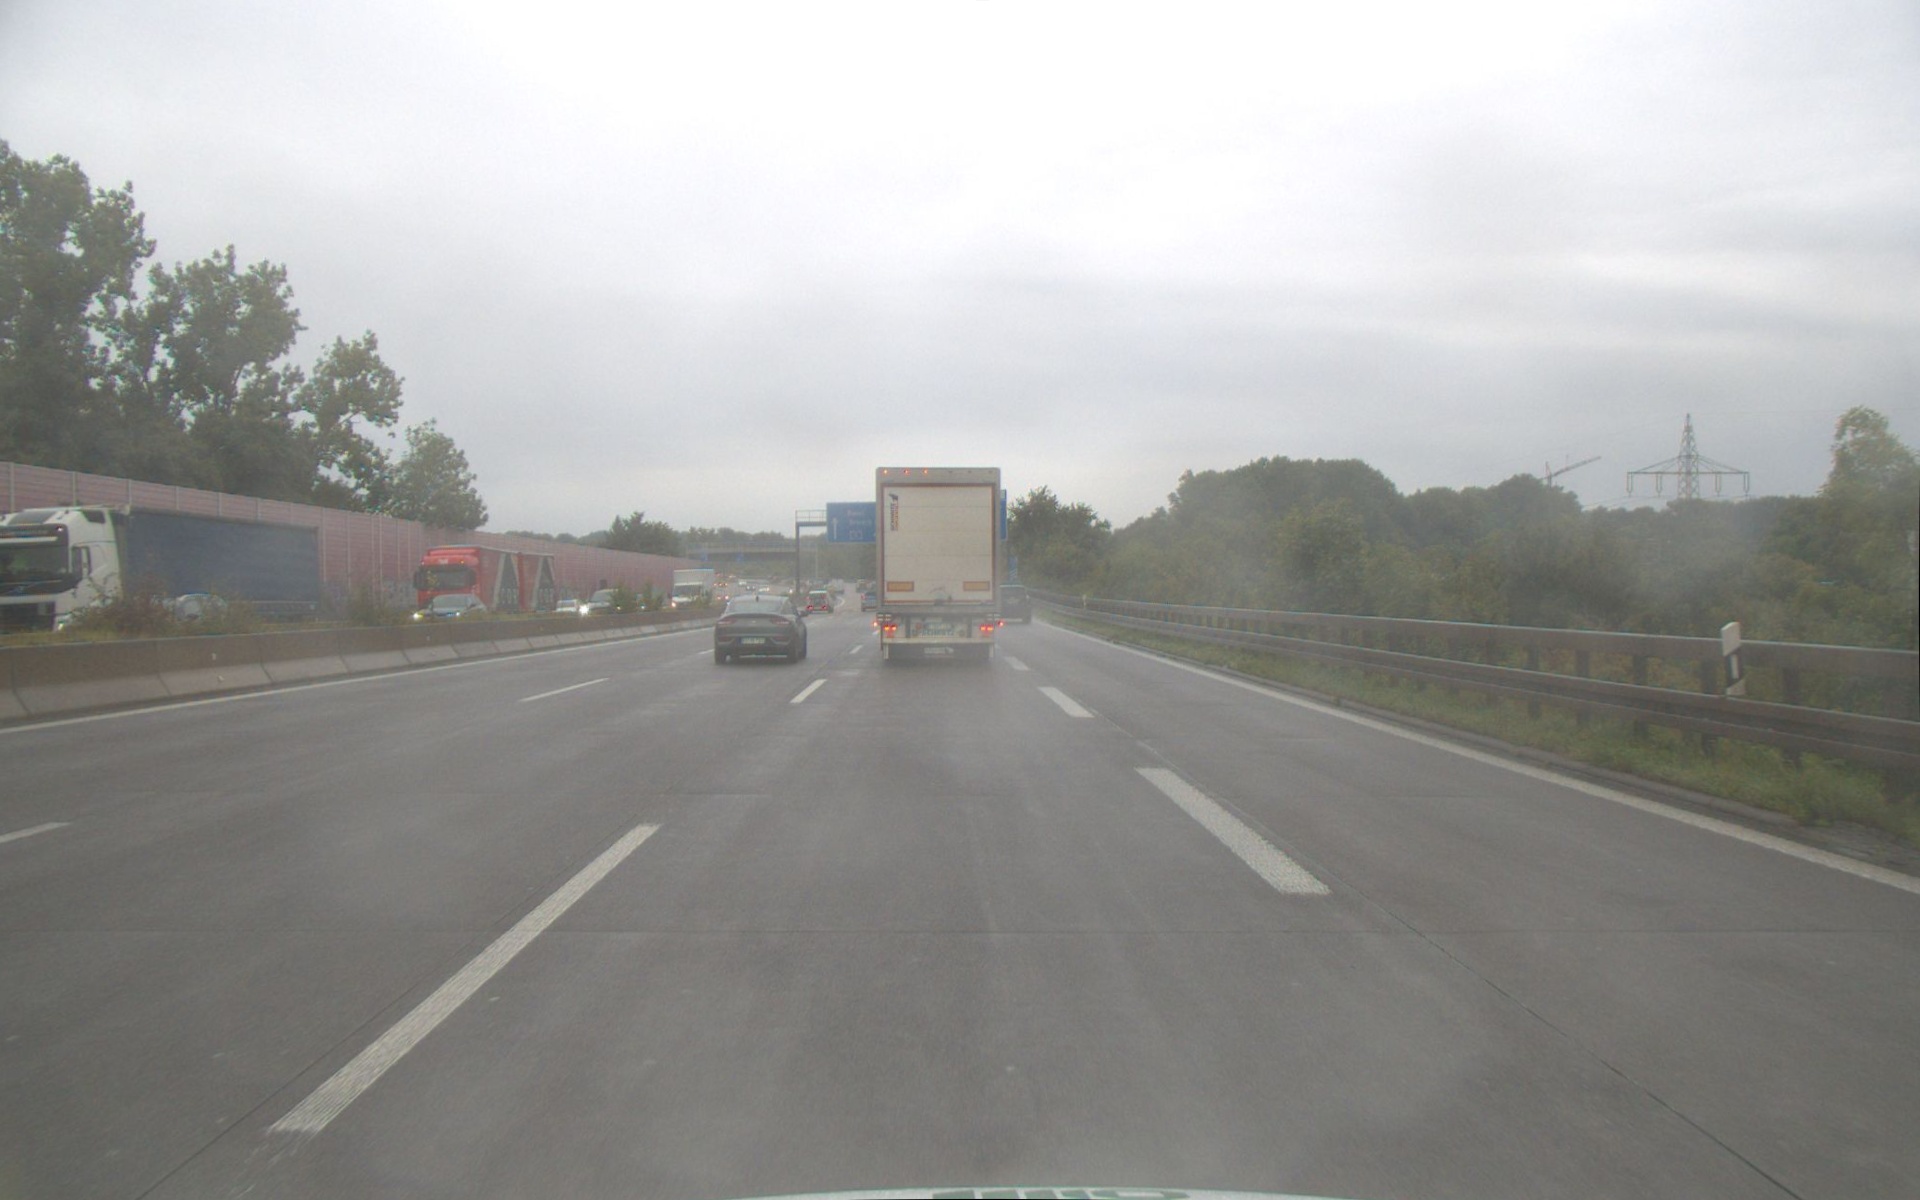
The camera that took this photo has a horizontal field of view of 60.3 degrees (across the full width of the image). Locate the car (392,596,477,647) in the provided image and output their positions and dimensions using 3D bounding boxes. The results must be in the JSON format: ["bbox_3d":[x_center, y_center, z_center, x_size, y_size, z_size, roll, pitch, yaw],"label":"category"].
[{"bbox_3d":[-20.243,0.789,63.875,1.953,1.892,4.388,0,0,-2],"label":"car"}]

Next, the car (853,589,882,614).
[{"bbox_3d":[-6.617,0.070,118.440,1.855,1.754,3.999,-1,0,-1],"label":"car"}]

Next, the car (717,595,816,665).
[{"bbox_3d":[-4.200,0.608,36.501,1.690,1.427,4.827,1,0,-1],"label":"car"}]

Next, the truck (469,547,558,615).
[{"bbox_3d":[-24.330,-1.001,90.560,2.724,3.551,8.491,0,0,-2],"label":"truck"}]

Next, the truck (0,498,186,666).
[{"bbox_3d":[-23.467,-0.471,43.887,2.984,4.098,6.050,1,0,-1],"label":"truck"}]

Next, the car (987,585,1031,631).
[{"bbox_3d":[2.188,0.342,74.633,1.858,1.983,4.000,1,0,0],"label":"car"}]

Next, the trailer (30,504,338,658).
[{"bbox_3d":[-23.525,-0.537,51.525,2.984,4.098,14.124,1,0,-1],"label":"trailer"}]

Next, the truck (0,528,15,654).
[{"bbox_3d":[-27.368,-0.252,41.105,2.912,3.409,8.697,1,0,-2],"label":"truck"}]

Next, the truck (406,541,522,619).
[{"bbox_3d":[-24.105,-0.958,81.018,2.724,3.551,10.615,0,0,-2],"label":"truck"}]

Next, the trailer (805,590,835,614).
[{"bbox_3d":[-9.902,0.135,117.149,1.778,1.653,4.567,0,1,-1],"label":"trailer"}]

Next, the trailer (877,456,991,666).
[{"bbox_3d":[-0.626,-0.874,40.843,2.295,4.230,14.825,0,1,-1],"label":"trailer"}]

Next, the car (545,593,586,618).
[{"bbox_3d":[-28.483,0.398,119.521,1.953,1.677,4.537,-2,1,-1],"label":"car"}]

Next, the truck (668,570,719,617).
[{"bbox_3d":[-17.158,-0.427,106.856,2.220,2.878,7.277,1,0,-2],"label":"truck"}]

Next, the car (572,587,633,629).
[{"bbox_3d":[-16.376,0.345,75.878,1.953,1.892,4.388,0,0,-2],"label":"car"}]
